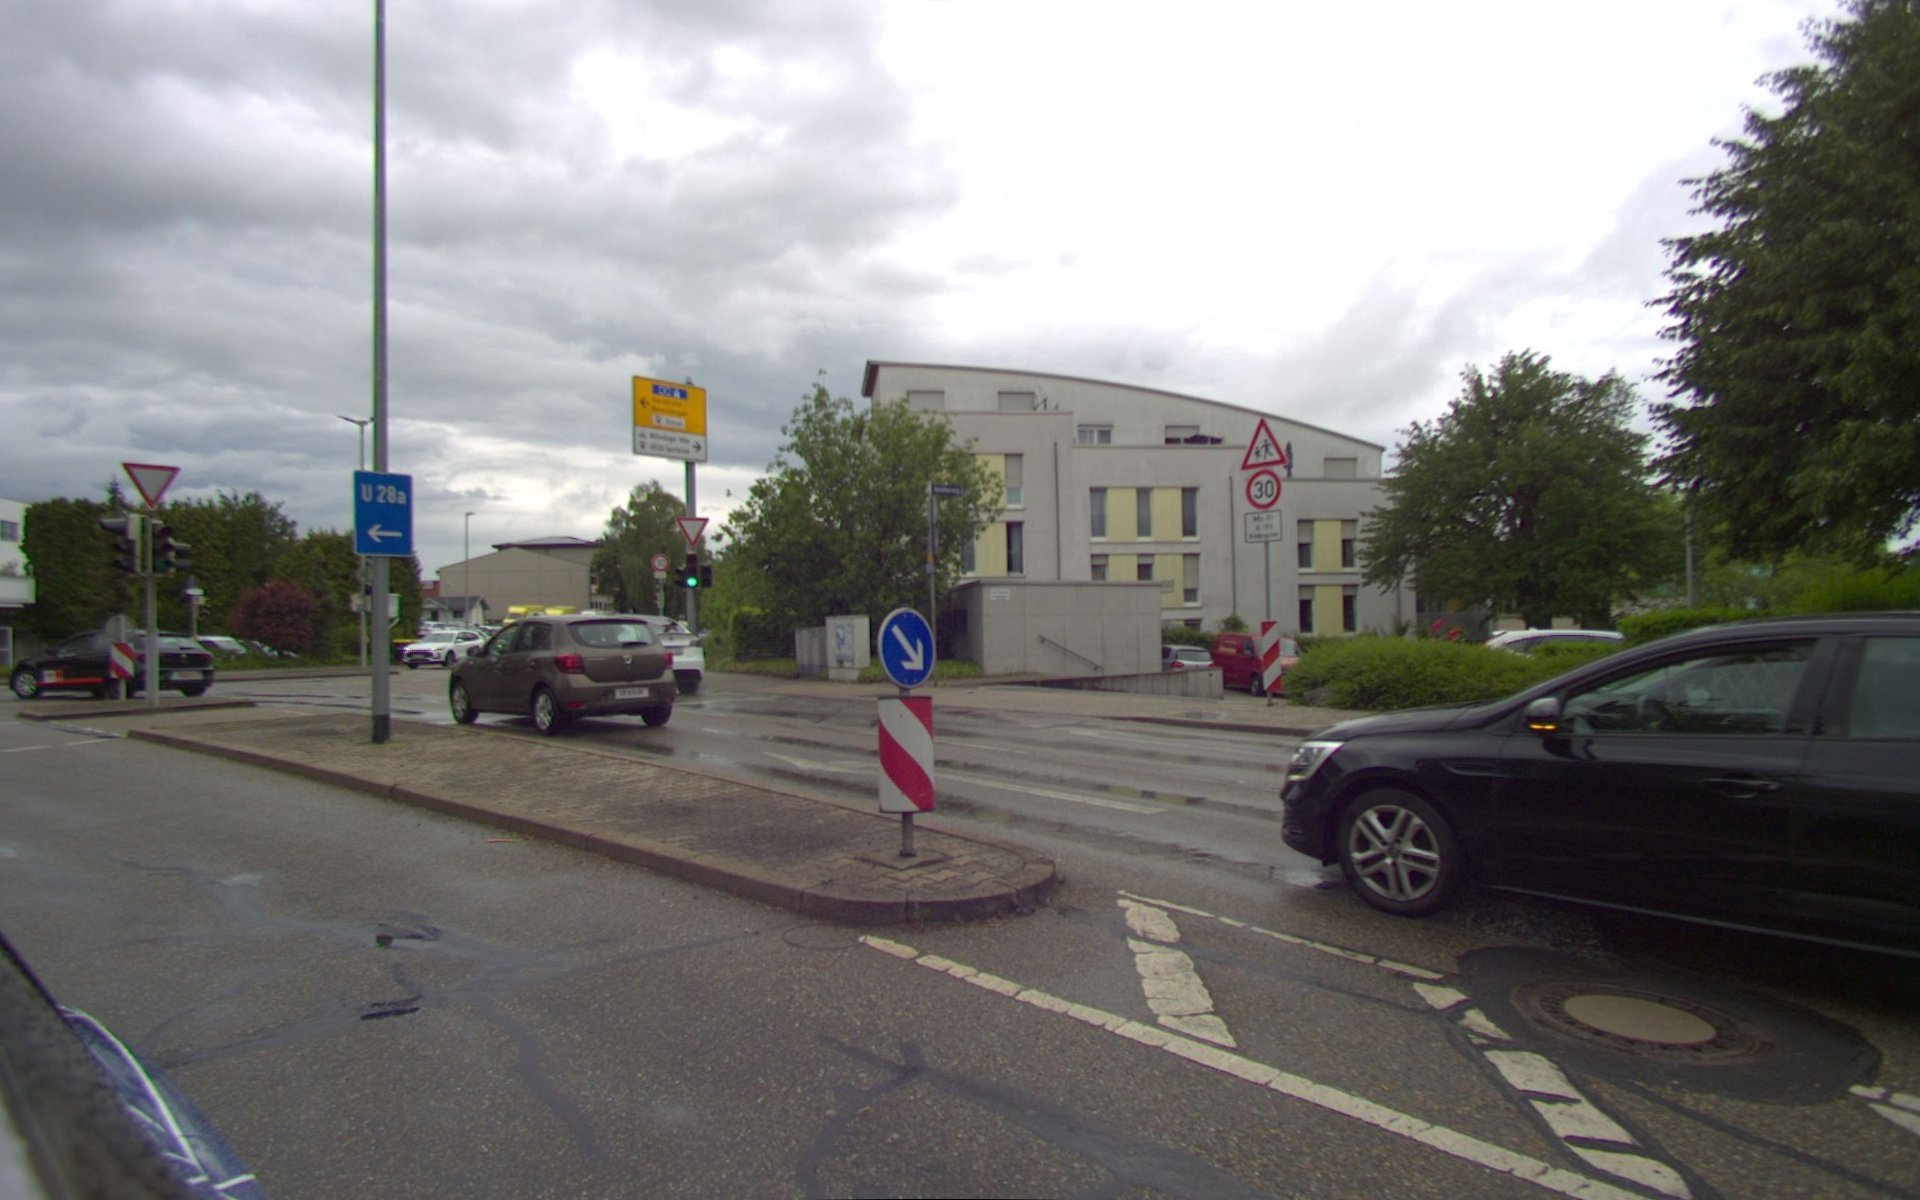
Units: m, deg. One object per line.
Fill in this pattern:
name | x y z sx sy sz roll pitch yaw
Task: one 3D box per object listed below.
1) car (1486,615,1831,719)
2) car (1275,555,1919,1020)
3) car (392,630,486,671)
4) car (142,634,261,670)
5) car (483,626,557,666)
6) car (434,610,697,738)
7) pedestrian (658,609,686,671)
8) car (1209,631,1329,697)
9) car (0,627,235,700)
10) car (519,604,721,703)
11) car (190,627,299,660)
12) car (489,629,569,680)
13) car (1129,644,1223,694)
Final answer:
car | 11.067 1.006 16.346 1.792 1.450 4.214 2 -2 -34
car | 3.694 0.619 4.203 1.926 1.530 4.182 0 -1 -39
car | -22.743 2.176 44.339 1.973 1.652 3.998 -1 -1 2
car | -33.907 2.306 45.334 3.948 1.475 1.998 -1 -1 4
car | -22.532 2.325 51.953 1.973 1.829 3.998 -1 -1 1
car | -5.486 0.900 13.855 3.937 1.498 1.803 -1 -1 42
pedestrian | -9.588 1.326 33.705 0.835 2.029 0.804 -1 -1 -13
car | 10.099 2.049 33.488 2.002 2.029 4.662 1 -2 -8
car | -17.644 1.317 21.162 4.162 1.419 1.814 -1 -2 14
car | -7.047 1.033 20.719 4.601 1.738 1.927 -2 1 43
car | -33.732 2.043 47.791 3.946 1.404 1.732 -1 2 2
car | -13.641 1.691 32.233 1.730 1.446 4.364 -1 -2 -15
car | 7.128 2.259 33.783 1.832 1.513 3.841 1 -2 -8
